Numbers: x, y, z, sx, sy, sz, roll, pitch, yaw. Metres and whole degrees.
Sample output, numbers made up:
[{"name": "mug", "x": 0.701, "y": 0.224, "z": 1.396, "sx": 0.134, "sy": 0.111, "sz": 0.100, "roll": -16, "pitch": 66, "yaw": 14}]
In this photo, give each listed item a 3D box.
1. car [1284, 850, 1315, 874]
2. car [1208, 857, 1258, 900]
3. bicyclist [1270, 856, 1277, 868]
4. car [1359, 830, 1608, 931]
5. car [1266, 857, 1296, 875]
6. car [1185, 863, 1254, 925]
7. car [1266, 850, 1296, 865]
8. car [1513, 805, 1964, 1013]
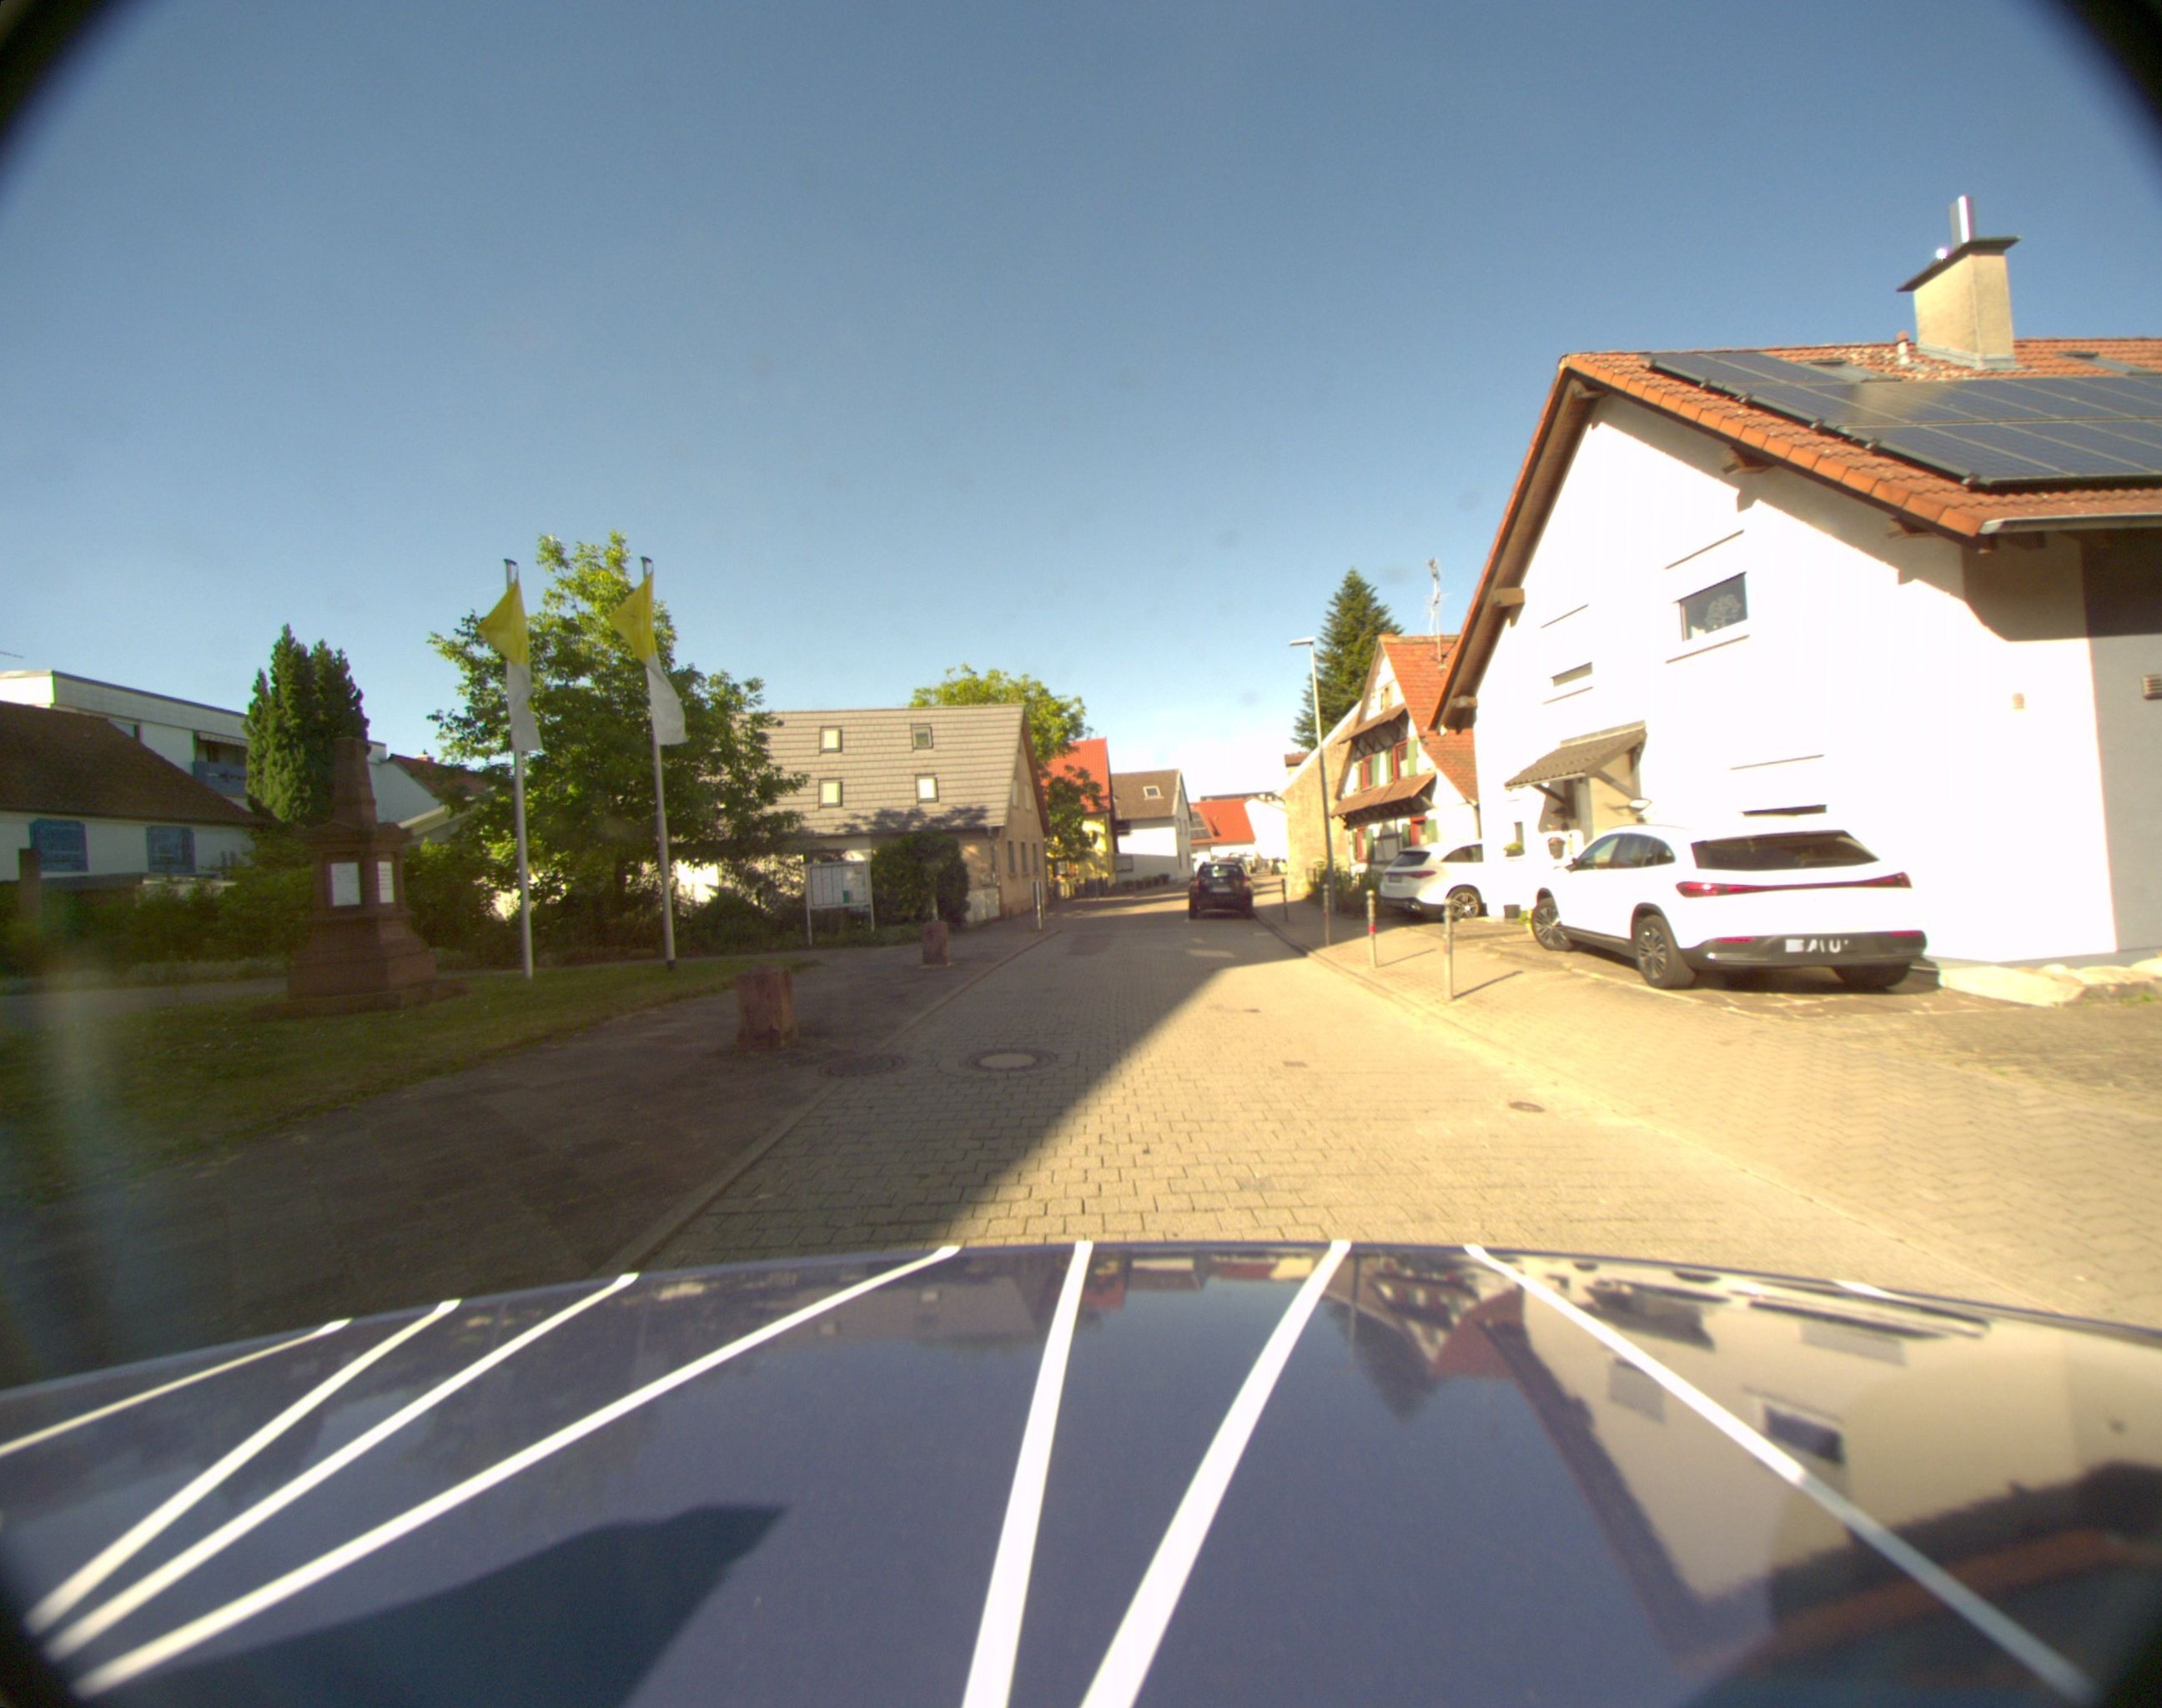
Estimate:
[{"name": "car", "x": 22.168, "y": 0.791, "z": 76.924, "sx": 2.057, "sy": 2.232, "sz": 4.868, "roll": -3, "pitch": -1, "yaw": 26}, {"name": "car", "x": 6.858, "y": 1.041, "z": 33.901, "sx": 1.835, "sy": 1.779, "sz": 4.358, "roll": -1, "pitch": -1, "yaw": 16}, {"name": "bicyclist", "x": 21.799, "y": 0.921, "z": 86.142, "sx": 0.581, "sy": 1.312, "sz": 0.609, "roll": -2, "pitch": 0, "yaw": 32}, {"name": "car", "x": 8.195, "y": 0.541, "z": 15.718, "sx": 3.998, "sy": 1.579, "sz": 2.000, "roll": -5, "pitch": -1, "yaw": -5}, {"name": "car", "x": 19.000, "y": 1.119, "z": 72.040, "sx": 1.890, "sy": 1.581, "sz": 4.007, "roll": -3, "pitch": -1, "yaw": 26}, {"name": "car", "x": 4.131, "y": 1.132, "z": 22.939, "sx": 1.835, "sy": 1.661, "sz": 4.356, "roll": -1, "pitch": -1, "yaw": 9}, {"name": "car", "x": 29.186, "y": 0.495, "z": 110.997, "sx": 3.992, "sy": 2.001, "sz": 1.844, "roll": -4, "pitch": -1, "yaw": 20}, {"name": "car", "x": 6.570, "y": 0.466, "z": 8.407, "sx": 1.820, "sy": 1.586, "sz": 4.450, "roll": -5, "pitch": -1, "yaw": 13}]
